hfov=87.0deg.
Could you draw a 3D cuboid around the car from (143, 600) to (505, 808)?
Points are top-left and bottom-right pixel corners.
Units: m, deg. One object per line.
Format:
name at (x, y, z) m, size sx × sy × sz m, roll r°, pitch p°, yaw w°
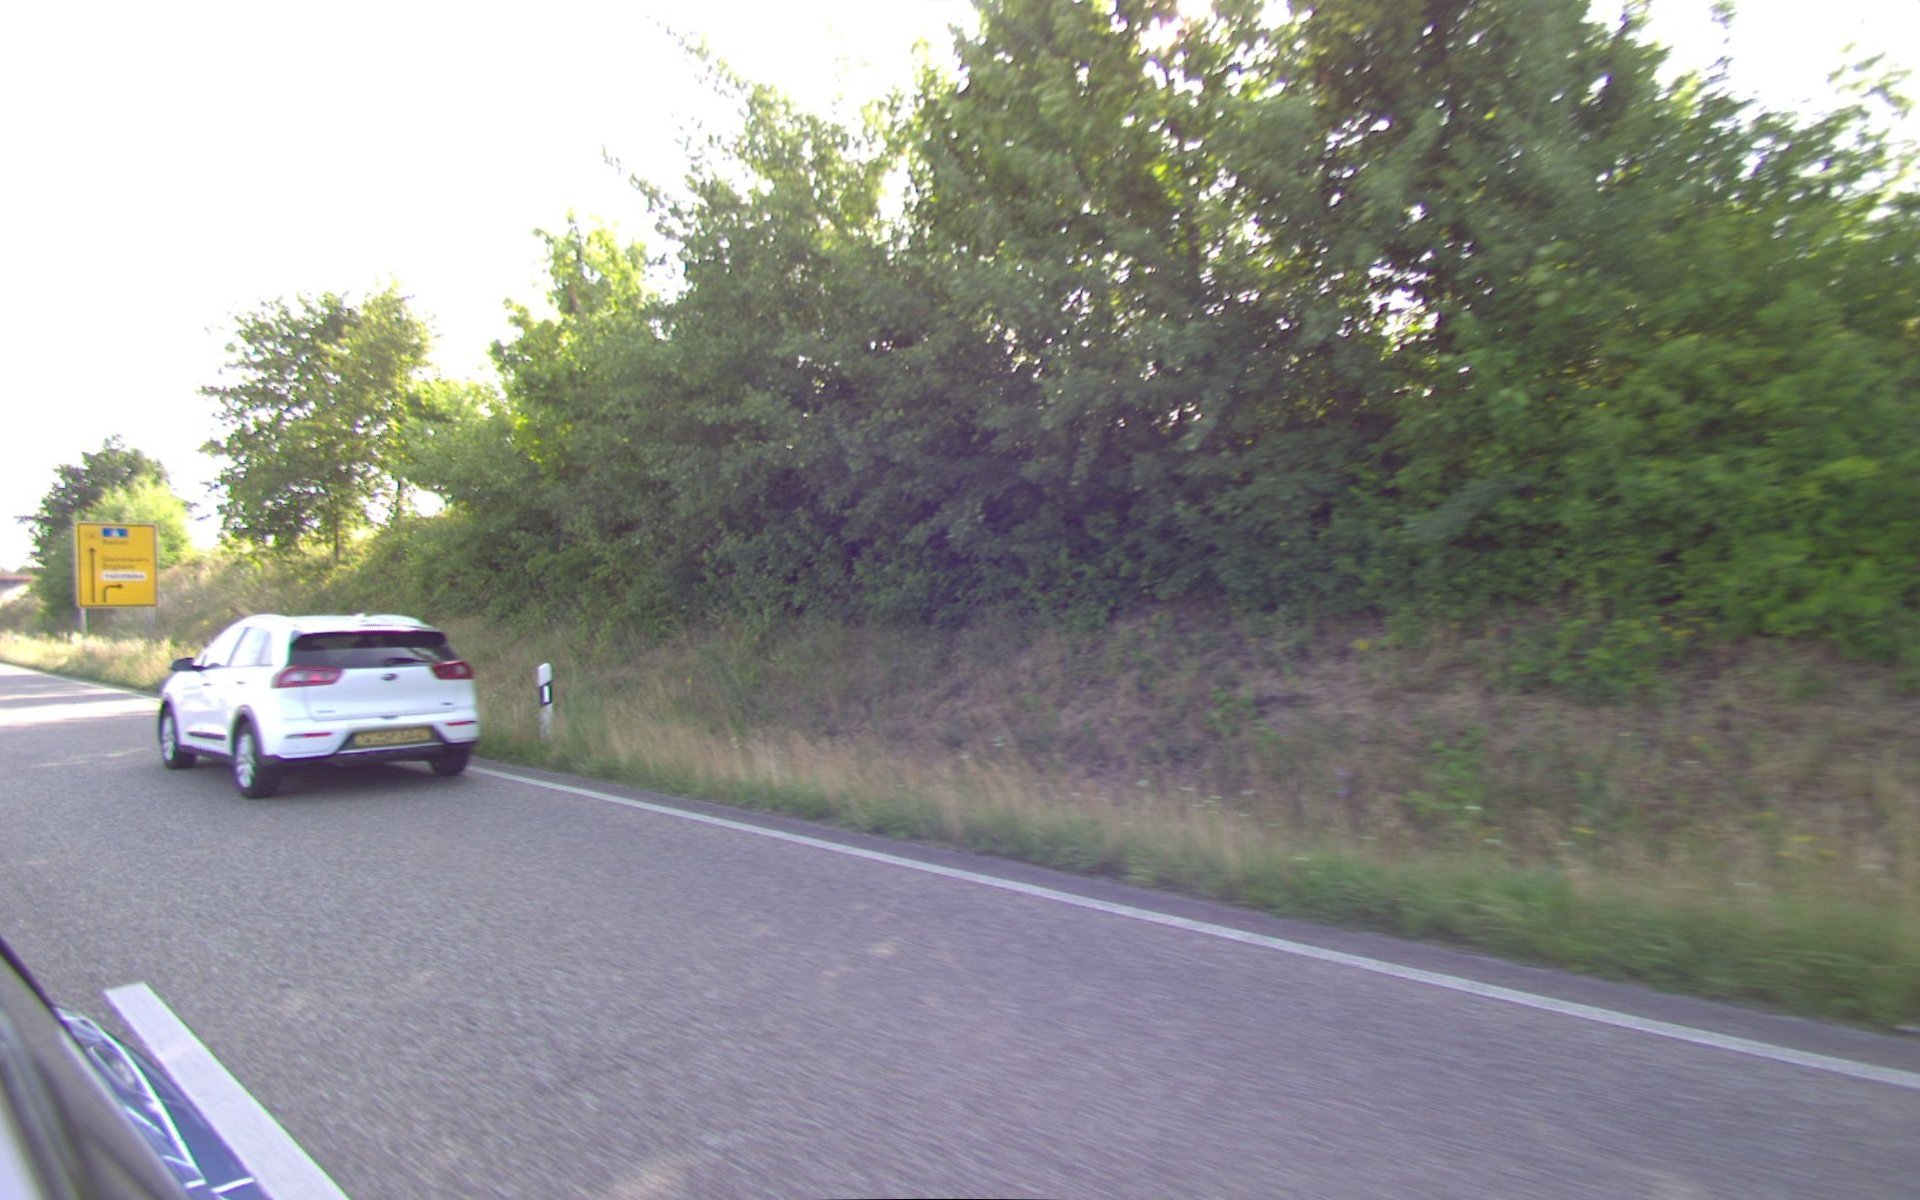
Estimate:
car at (-6.268, 0.845, 9.768) m, size 4.362 × 1.576 × 1.727 m, roll -1°, pitch -2°, yaw 40°
